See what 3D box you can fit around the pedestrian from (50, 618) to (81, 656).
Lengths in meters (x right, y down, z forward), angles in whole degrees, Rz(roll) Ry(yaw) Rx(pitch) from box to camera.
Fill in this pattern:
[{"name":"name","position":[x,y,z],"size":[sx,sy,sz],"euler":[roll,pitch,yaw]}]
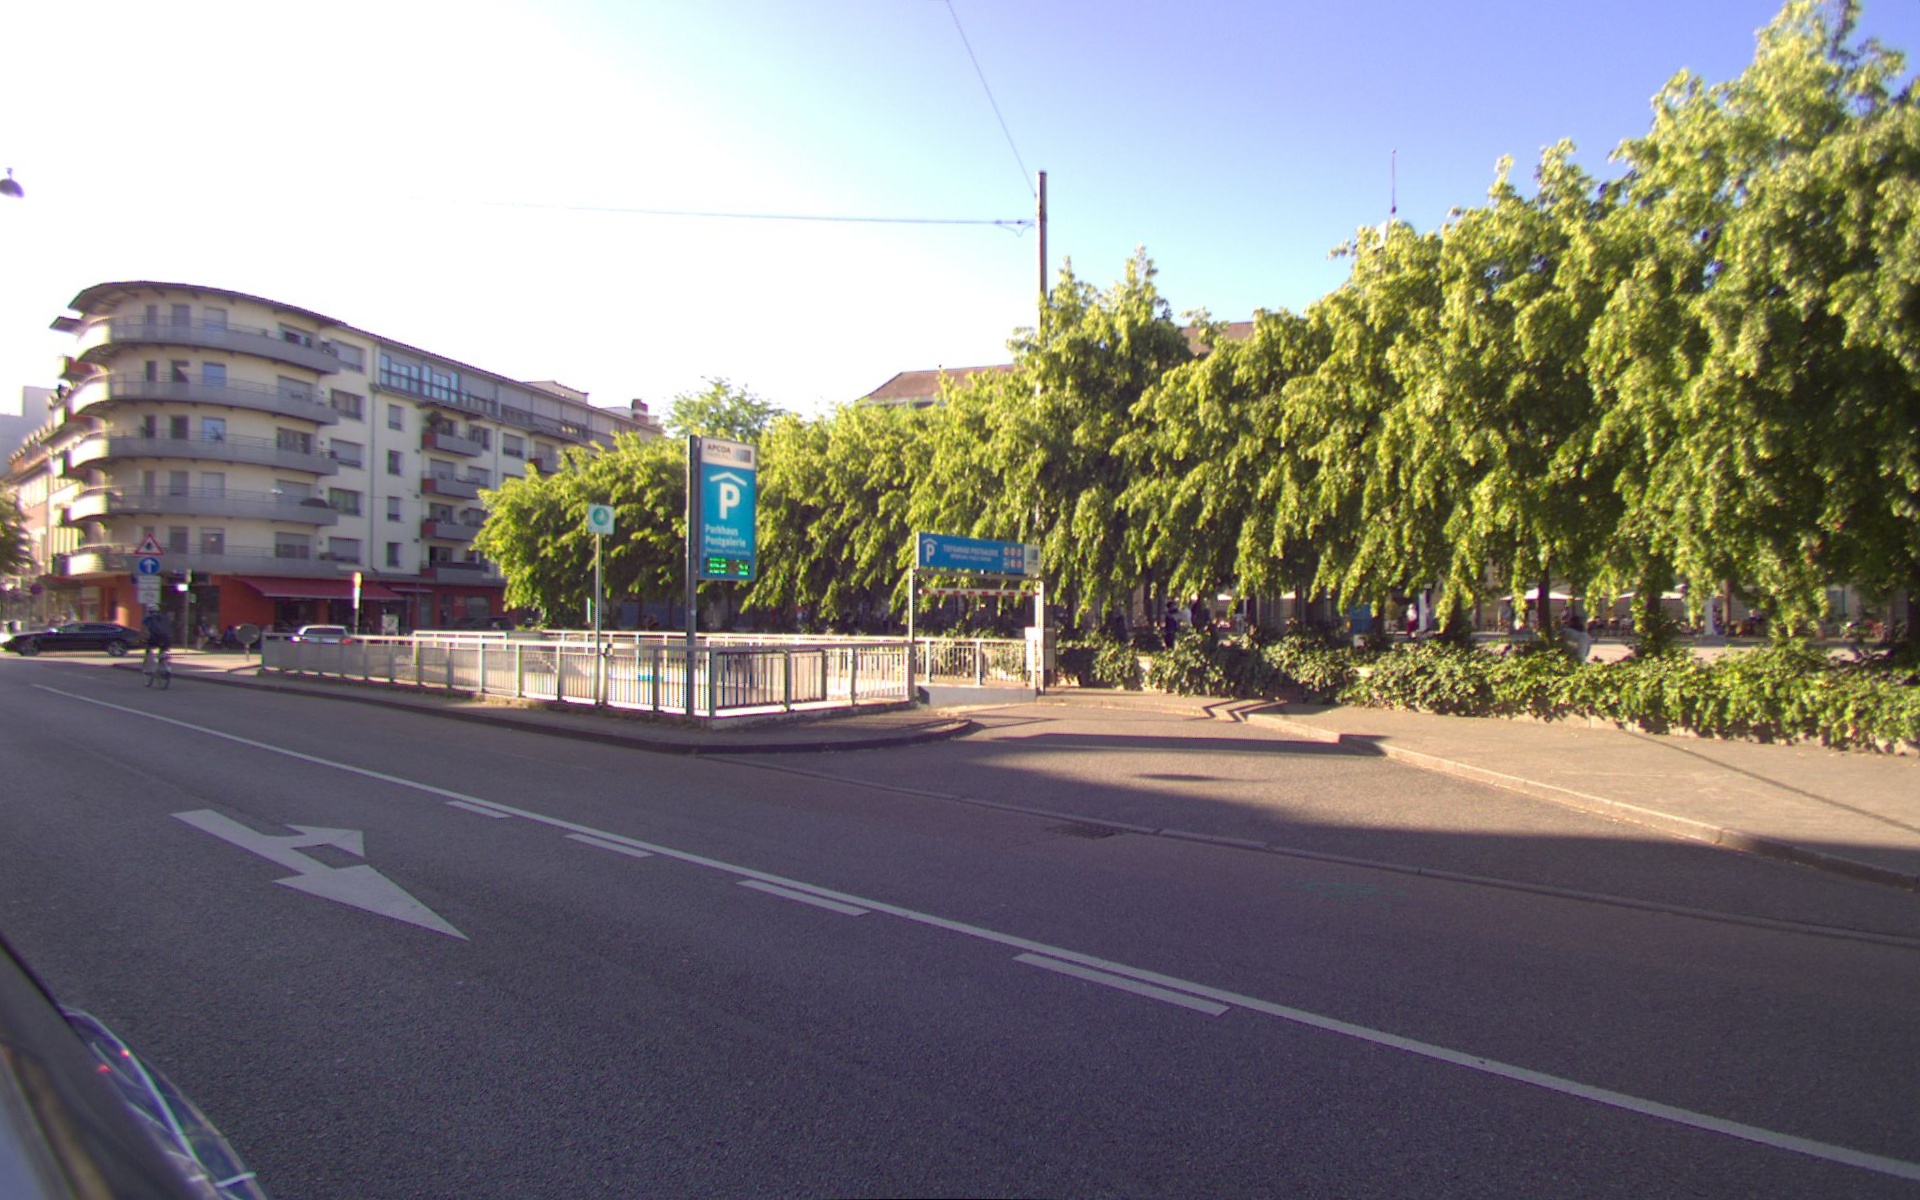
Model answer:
[{"name":"pedestrian","position":[-42.506,1.751,48.103],"size":[1.052,1.732,1.083],"euler":[-1,0,-38]}]

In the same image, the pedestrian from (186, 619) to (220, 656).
[{"name":"pedestrian","position":[-37.081,1.839,49.578],"size":[0.947,1.762,1.063],"euler":[-1,0,-9]}]

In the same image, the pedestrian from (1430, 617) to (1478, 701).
[{"name":"pedestrian","position":[8.743,1.026,17.906],"size":[0.621,1.447,0.645],"euler":[-1,0,39]}]

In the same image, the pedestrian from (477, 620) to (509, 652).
[{"name":"pedestrian","position":[-25.107,1.917,54.437],"size":[1.253,1.678,1.141],"euler":[-1,0,-43]}]

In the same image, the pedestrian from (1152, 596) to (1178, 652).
[{"name":"pedestrian","position":[5.193,0.593,25.633],"size":[0.545,1.385,0.680],"euler":[-1,0,19]}]

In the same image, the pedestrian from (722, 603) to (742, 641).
[{"name":"pedestrian","position":[-11.303,1.093,50.166],"size":[0.679,1.857,0.743],"euler":[-1,0,19]}]

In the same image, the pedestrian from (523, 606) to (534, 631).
[{"name":"pedestrian","position":[-32.948,1.420,77.315],"size":[0.735,1.857,0.686],"euler":[-1,0,-26]}]

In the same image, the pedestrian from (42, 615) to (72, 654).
[{"name":"pedestrian","position":[-45.561,1.714,51.067],"size":[0.790,1.934,0.978],"euler":[-1,0,37]}]

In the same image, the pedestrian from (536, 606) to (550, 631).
[{"name":"pedestrian","position":[-31.358,1.399,76.103],"size":[0.684,1.857,0.737],"euler":[-1,0,41]}]

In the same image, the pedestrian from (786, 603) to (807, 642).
[{"name":"pedestrian","position":[-8.018,1.097,49.677],"size":[0.681,1.857,0.741],"euler":[-1,0,27]}]

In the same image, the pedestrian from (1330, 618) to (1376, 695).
[{"name":"pedestrian","position":[7.516,1.061,19.353],"size":[0.622,1.409,0.644],"euler":[-1,0,44]}]

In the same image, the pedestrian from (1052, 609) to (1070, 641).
[{"name":"pedestrian","position":[4.466,1.106,44.825],"size":[0.684,1.385,0.684],"euler":[-1,0,1]}]

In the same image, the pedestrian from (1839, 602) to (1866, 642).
[{"name":"pedestrian","position":[34.971,0.871,39.657],"size":[0.741,1.542,0.684],"euler":[-1,0,43]}]

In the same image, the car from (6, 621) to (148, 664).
[{"name":"car","position":[-35.882,1.693,41.275],"size":[4.180,1.542,1.681],"euler":[-1,0,-36]}]

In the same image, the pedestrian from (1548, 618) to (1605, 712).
[{"name":"pedestrian","position":[9.799,1.013,16.097],"size":[0.611,1.447,0.588],"euler":[-1,0,14]}]

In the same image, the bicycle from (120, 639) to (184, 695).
[{"name":"bicycle","position":[-18.208,1.483,22.792],"size":[1.954,1.171,0.610],"euler":[0,-3,37]}]

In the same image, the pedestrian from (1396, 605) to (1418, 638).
[{"name":"pedestrian","position":[21.231,0.997,48.059],"size":[0.672,1.536,0.696],"euler":[-1,0,-19]}]

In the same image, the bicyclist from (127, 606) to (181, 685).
[{"name":"bicyclist","position":[-18.103,1.021,22.741],"size":[0.808,1.722,0.694],"euler":[-1,-3,36]}]

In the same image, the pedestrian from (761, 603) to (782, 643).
[{"name":"pedestrian","position":[-9.117,1.102,49.016],"size":[0.681,1.877,0.741],"euler":[-1,0,27]}]

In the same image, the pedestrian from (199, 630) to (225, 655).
[{"name":"pedestrian","position":[-37.645,2.137,50.952],"size":[0.882,1.207,0.772],"euler":[-1,0,30]}]

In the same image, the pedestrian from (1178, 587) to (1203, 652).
[{"name":"pedestrian","position":[5.780,0.485,25.412],"size":[0.522,1.594,0.680],"euler":[-1,0,19]}]

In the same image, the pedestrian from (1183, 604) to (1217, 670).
[{"name":"pedestrian","position":[5.641,0.854,23.758],"size":[0.688,1.511,0.680],"euler":[-1,0,19]}]

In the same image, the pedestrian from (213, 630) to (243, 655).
[{"name":"pedestrian","position":[-36.824,2.126,50.907],"size":[0.827,1.207,0.931],"euler":[-1,0,16]}]

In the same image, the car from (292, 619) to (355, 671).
[{"name":"car","position":[-20.618,1.408,32.900],"size":[1.611,1.542,3.920],"euler":[-1,0,-31]}]

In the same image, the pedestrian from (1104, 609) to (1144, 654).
[{"name":"pedestrian","position":[4.061,0.766,25.036],"size":[0.682,1.079,0.686],"euler":[-1,0,-29]}]

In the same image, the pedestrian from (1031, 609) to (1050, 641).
[{"name":"pedestrian","position":[3.571,1.118,44.862],"size":[0.752,1.385,0.684],"euler":[-1,0,1]}]

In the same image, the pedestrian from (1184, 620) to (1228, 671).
[{"name":"pedestrian","position":[5.447,1.003,22.424],"size":[0.682,1.079,0.686],"euler":[-1,0,-13]}]

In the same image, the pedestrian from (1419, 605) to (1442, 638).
[{"name":"pedestrian","position":[22.567,1.024,48.569],"size":[0.672,1.542,0.696],"euler":[-1,0,-18]}]
